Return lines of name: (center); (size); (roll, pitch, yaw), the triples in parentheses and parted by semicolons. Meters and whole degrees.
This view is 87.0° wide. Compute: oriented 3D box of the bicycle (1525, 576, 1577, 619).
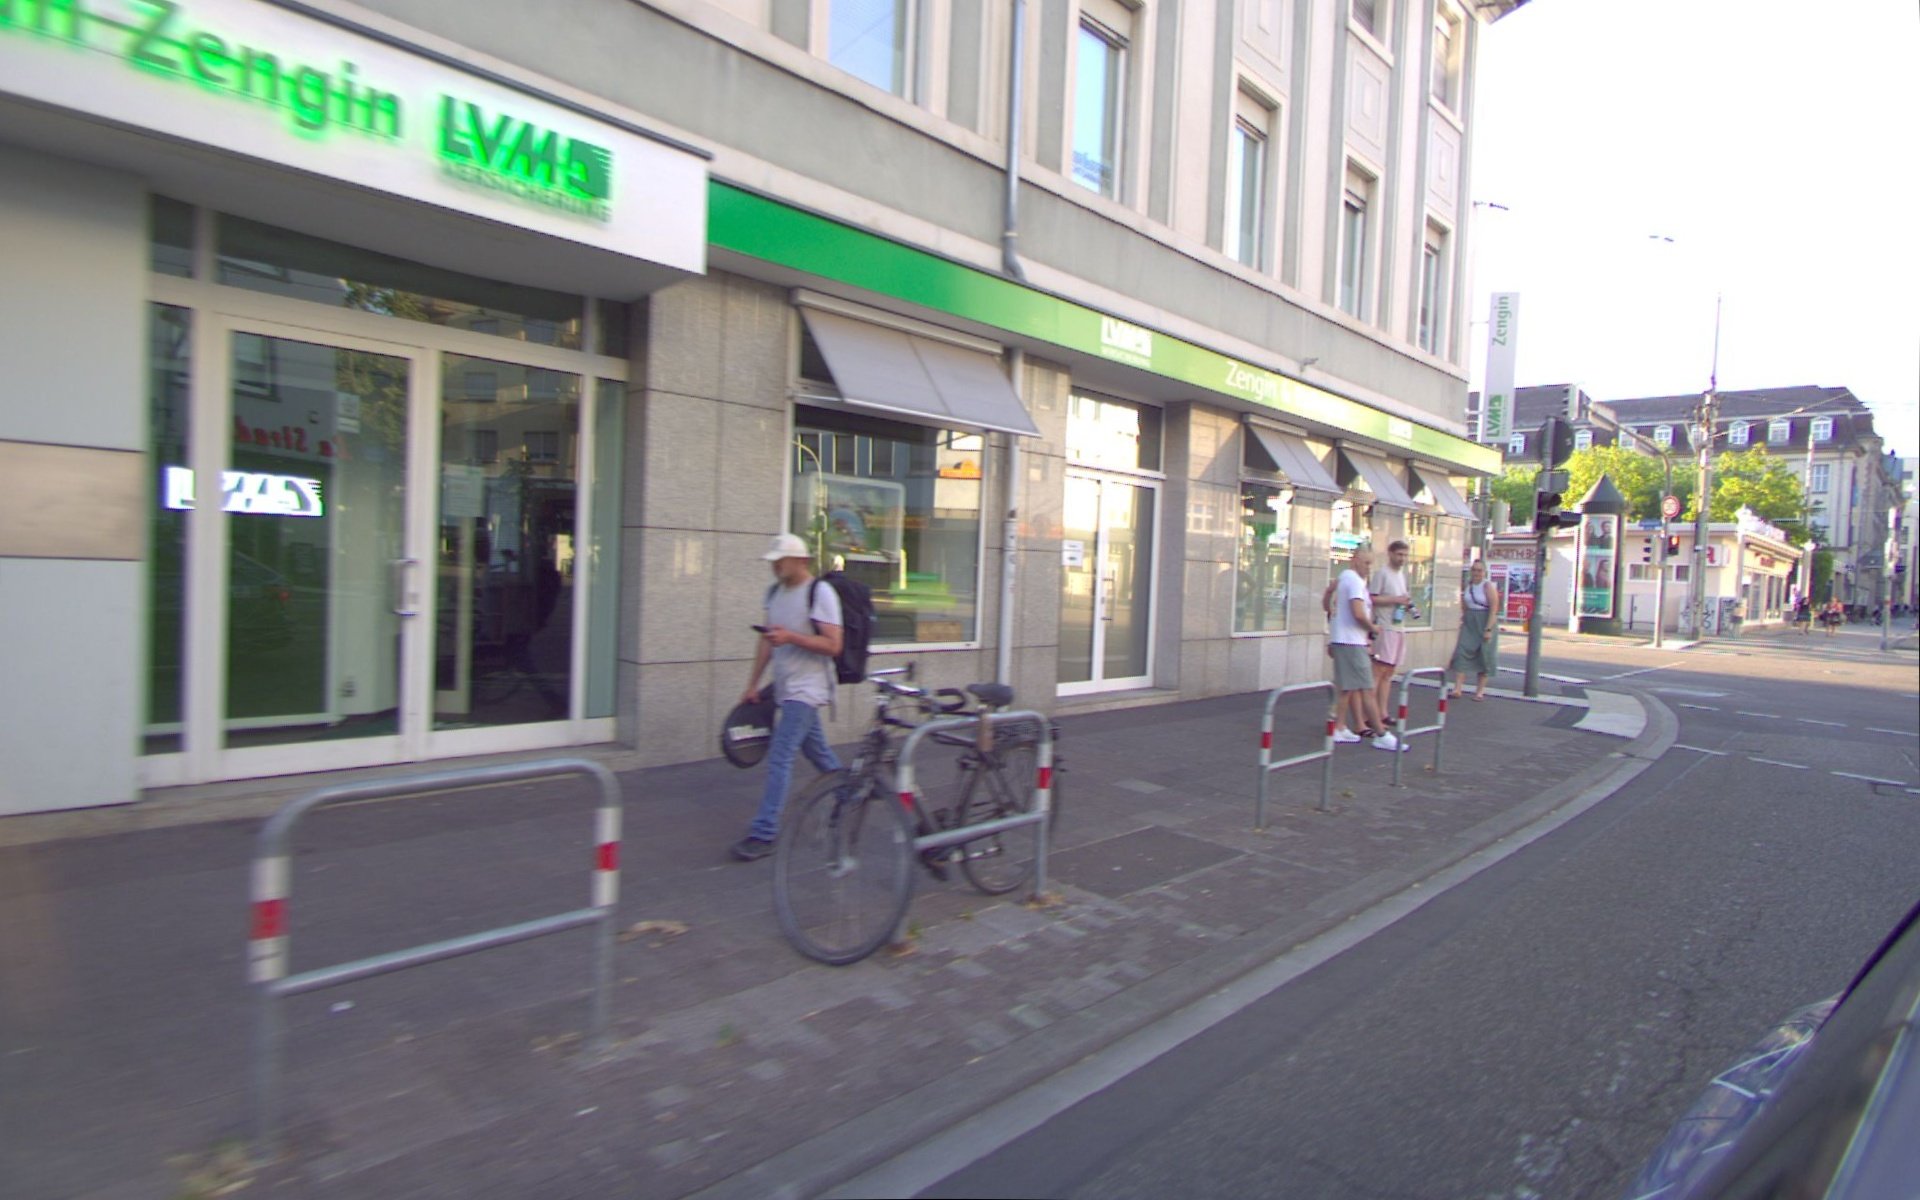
bicycle: (21.995, -0.086, 37.681); (1.950, 1.541, 0.480); (2, 2, -20)

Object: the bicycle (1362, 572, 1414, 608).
bicycle: (19.326, -0.455, 45.699); (2.182, 1.541, 0.682); (2, 2, -19)

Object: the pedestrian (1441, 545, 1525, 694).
pedestrian: (6.561, 0.223, 12.693); (0.636, 1.800, 0.671); (1, 2, -41)

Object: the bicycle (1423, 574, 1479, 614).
bicycle: (20.292, -0.251, 41.849); (2.182, 1.541, 0.682); (2, 2, -19)

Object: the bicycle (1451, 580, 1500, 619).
bicycle: (20.847, -0.021, 40.950); (1.950, 1.541, 0.480); (2, 2, -19)

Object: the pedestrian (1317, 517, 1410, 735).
pedestrian: (3.786, 0.220, 9.502); (0.636, 1.952, 0.523); (3, 2, 34)

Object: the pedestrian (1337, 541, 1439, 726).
pedestrian: (4.289, 0.308, 10.147); (0.687, 1.766, 0.639); (1, 2, -43)

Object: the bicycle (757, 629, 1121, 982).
bicycle: (-0.011, 0.721, 4.180); (0.477, 1.103, 1.623); (6, 4, 42)

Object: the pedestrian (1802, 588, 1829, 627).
pedestrian: (36.422, 0.306, 43.085); (0.804, 1.632, 0.978); (2, 2, 45)

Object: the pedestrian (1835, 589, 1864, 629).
pedestrian: (37.079, 0.366, 42.186); (0.804, 1.632, 0.978); (2, 2, 45)

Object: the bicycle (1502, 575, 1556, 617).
bicycle: (21.865, -0.149, 38.898); (1.950, 1.541, 0.480); (2, 2, -14)

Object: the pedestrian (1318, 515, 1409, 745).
pedestrian: (3.574, 0.243, 8.964); (0.572, 1.952, 0.490); (3, 2, 35)

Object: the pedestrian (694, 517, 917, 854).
pedestrian: (-0.801, 0.383, 5.242); (0.855, 1.567, 0.698); (1, 2, -43)

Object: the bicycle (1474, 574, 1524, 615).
bicycle: (21.304, -0.202, 40.002); (1.950, 1.541, 0.480); (2, 2, -19)
